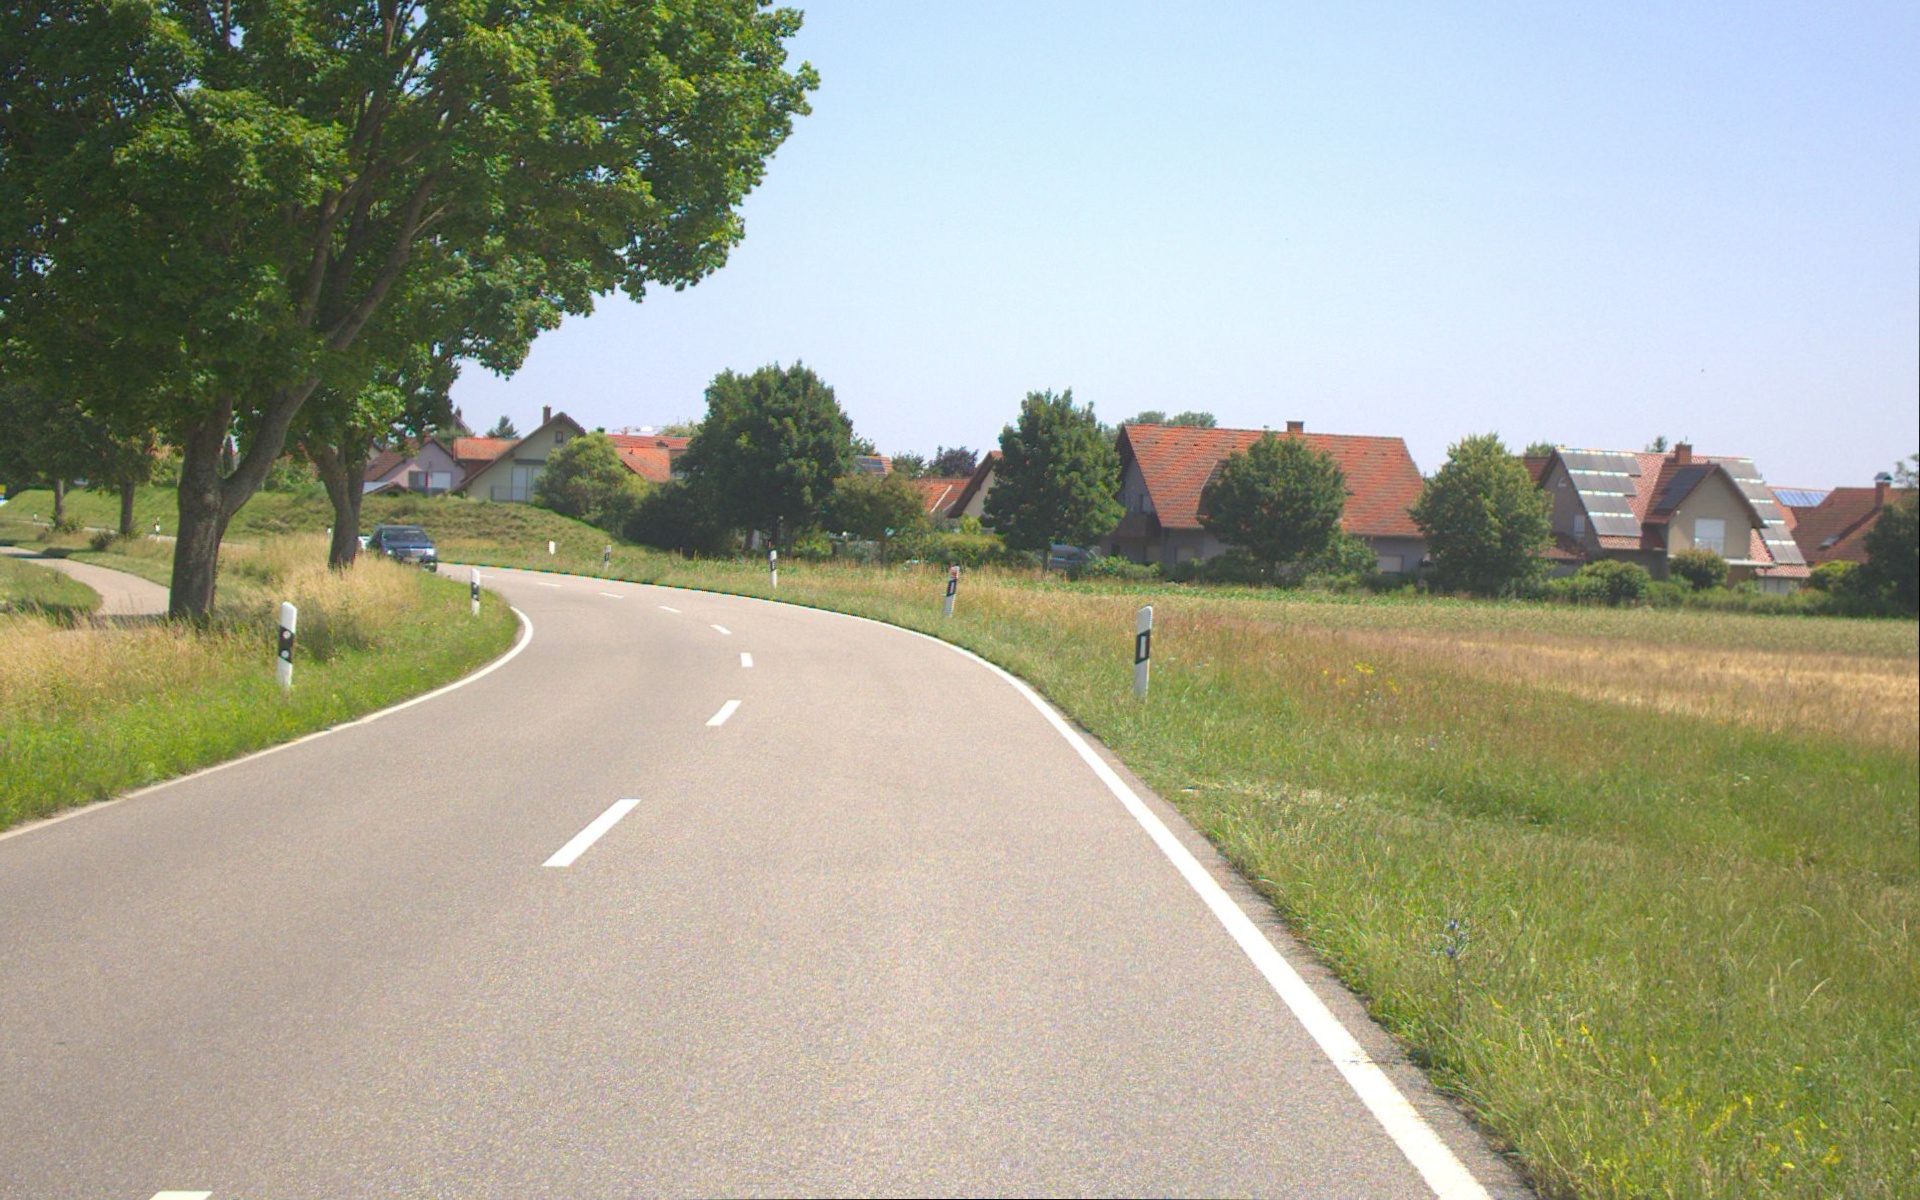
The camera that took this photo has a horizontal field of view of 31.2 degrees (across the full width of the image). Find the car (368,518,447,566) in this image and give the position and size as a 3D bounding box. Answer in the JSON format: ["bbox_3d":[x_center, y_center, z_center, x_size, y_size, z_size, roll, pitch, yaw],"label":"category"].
[{"bbox_3d":[-17.115,-1.800,106.383,1.643,1.424,4.181,-1,1,-20],"label":"car"}]
